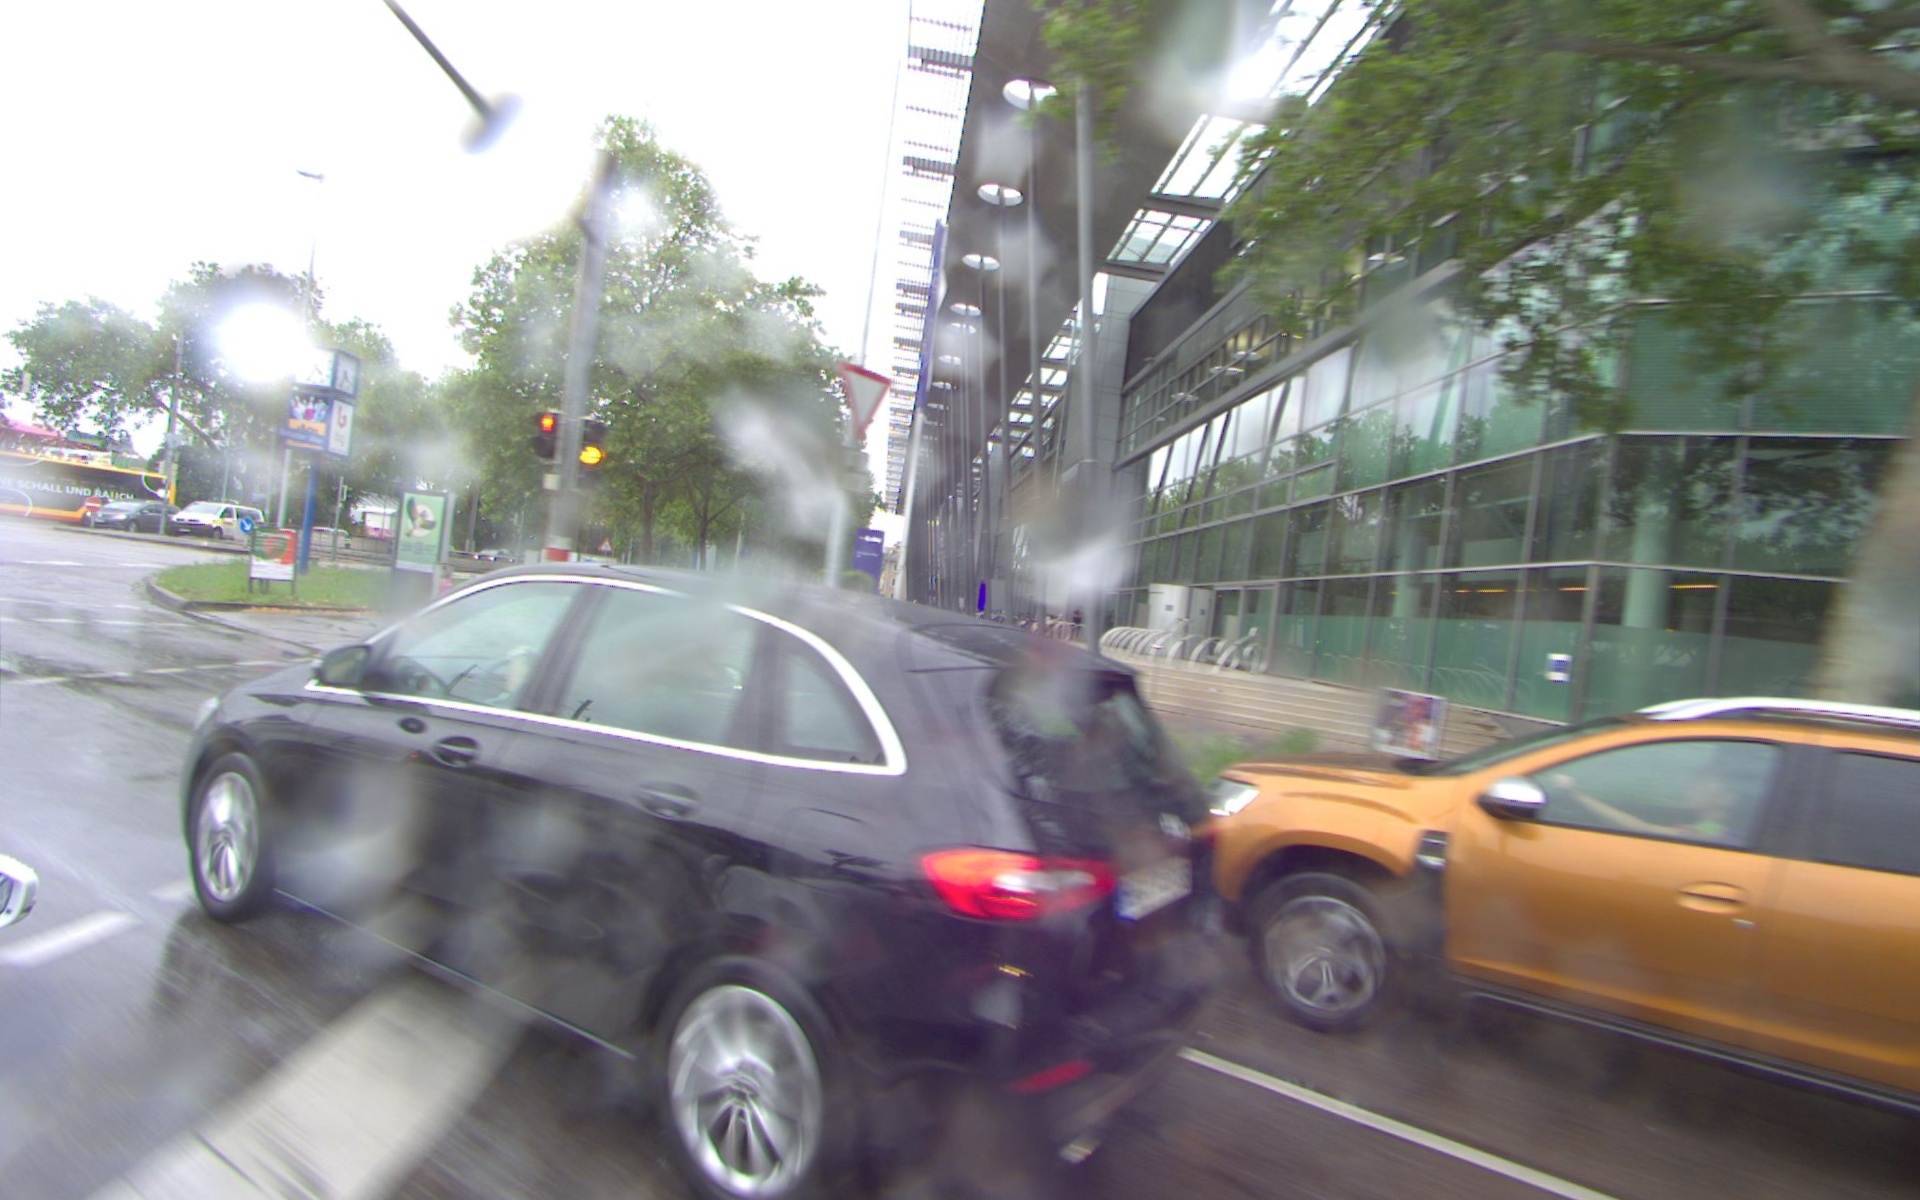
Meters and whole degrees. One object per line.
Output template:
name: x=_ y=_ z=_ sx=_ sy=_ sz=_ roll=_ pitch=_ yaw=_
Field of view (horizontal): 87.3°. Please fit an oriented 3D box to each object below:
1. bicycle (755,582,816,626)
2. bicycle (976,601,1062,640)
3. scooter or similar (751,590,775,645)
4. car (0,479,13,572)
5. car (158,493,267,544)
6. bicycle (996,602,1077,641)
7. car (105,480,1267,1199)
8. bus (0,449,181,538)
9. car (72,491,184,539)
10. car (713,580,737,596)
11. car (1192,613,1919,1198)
bicycle: x=-7.129 y=0.145 z=40.956 sx=2.635 sy=1.459 sz=0.803 roll=7 pitch=-2 yaw=42
bicycle: x=2.885 y=0.998 z=49.278 sx=3.934 sy=1.348 sz=1.190 roll=8 pitch=0 yaw=-10
scooter or similar: x=-4.396 y=0.382 z=22.453 sx=0.335 sy=1.152 sz=1.173 roll=7 pitch=1 yaw=-9
car: x=-16.701 y=-1.376 z=15.756 sx=3.560 sy=1.508 sz=1.682 roll=7 pitch=-1 yaw=31
car: x=-37.179 y=-4.002 z=50.186 sx=2.041 sy=1.871 sz=4.742 roll=7 pitch=0 yaw=-6
bicycle: x=3.603 y=1.016 z=47.248 sx=3.657 sy=1.348 sz=1.182 roll=8 pitch=0 yaw=-31
car: x=-1.197 y=0.569 z=3.783 sx=4.020 sy=1.542 sz=1.873 roll=7 pitch=0 yaw=32
bus: x=-46.096 y=-5.551 z=49.108 sx=3.219 sy=3.308 sz=12.271 roll=7 pitch=0 yaw=30
car: x=-39.739 y=-4.017 z=48.184 sx=1.900 sy=1.671 sz=4.337 roll=7 pitch=0 yaw=-6
car: x=-26.834 y=-1.321 z=114.767 sx=1.809 sy=1.571 sz=3.998 roll=7 pitch=0 yaw=-3
car: x=3.370 y=1.172 z=4.324 sx=4.099 sy=1.652 sz=1.903 roll=7 pitch=0 yaw=31
